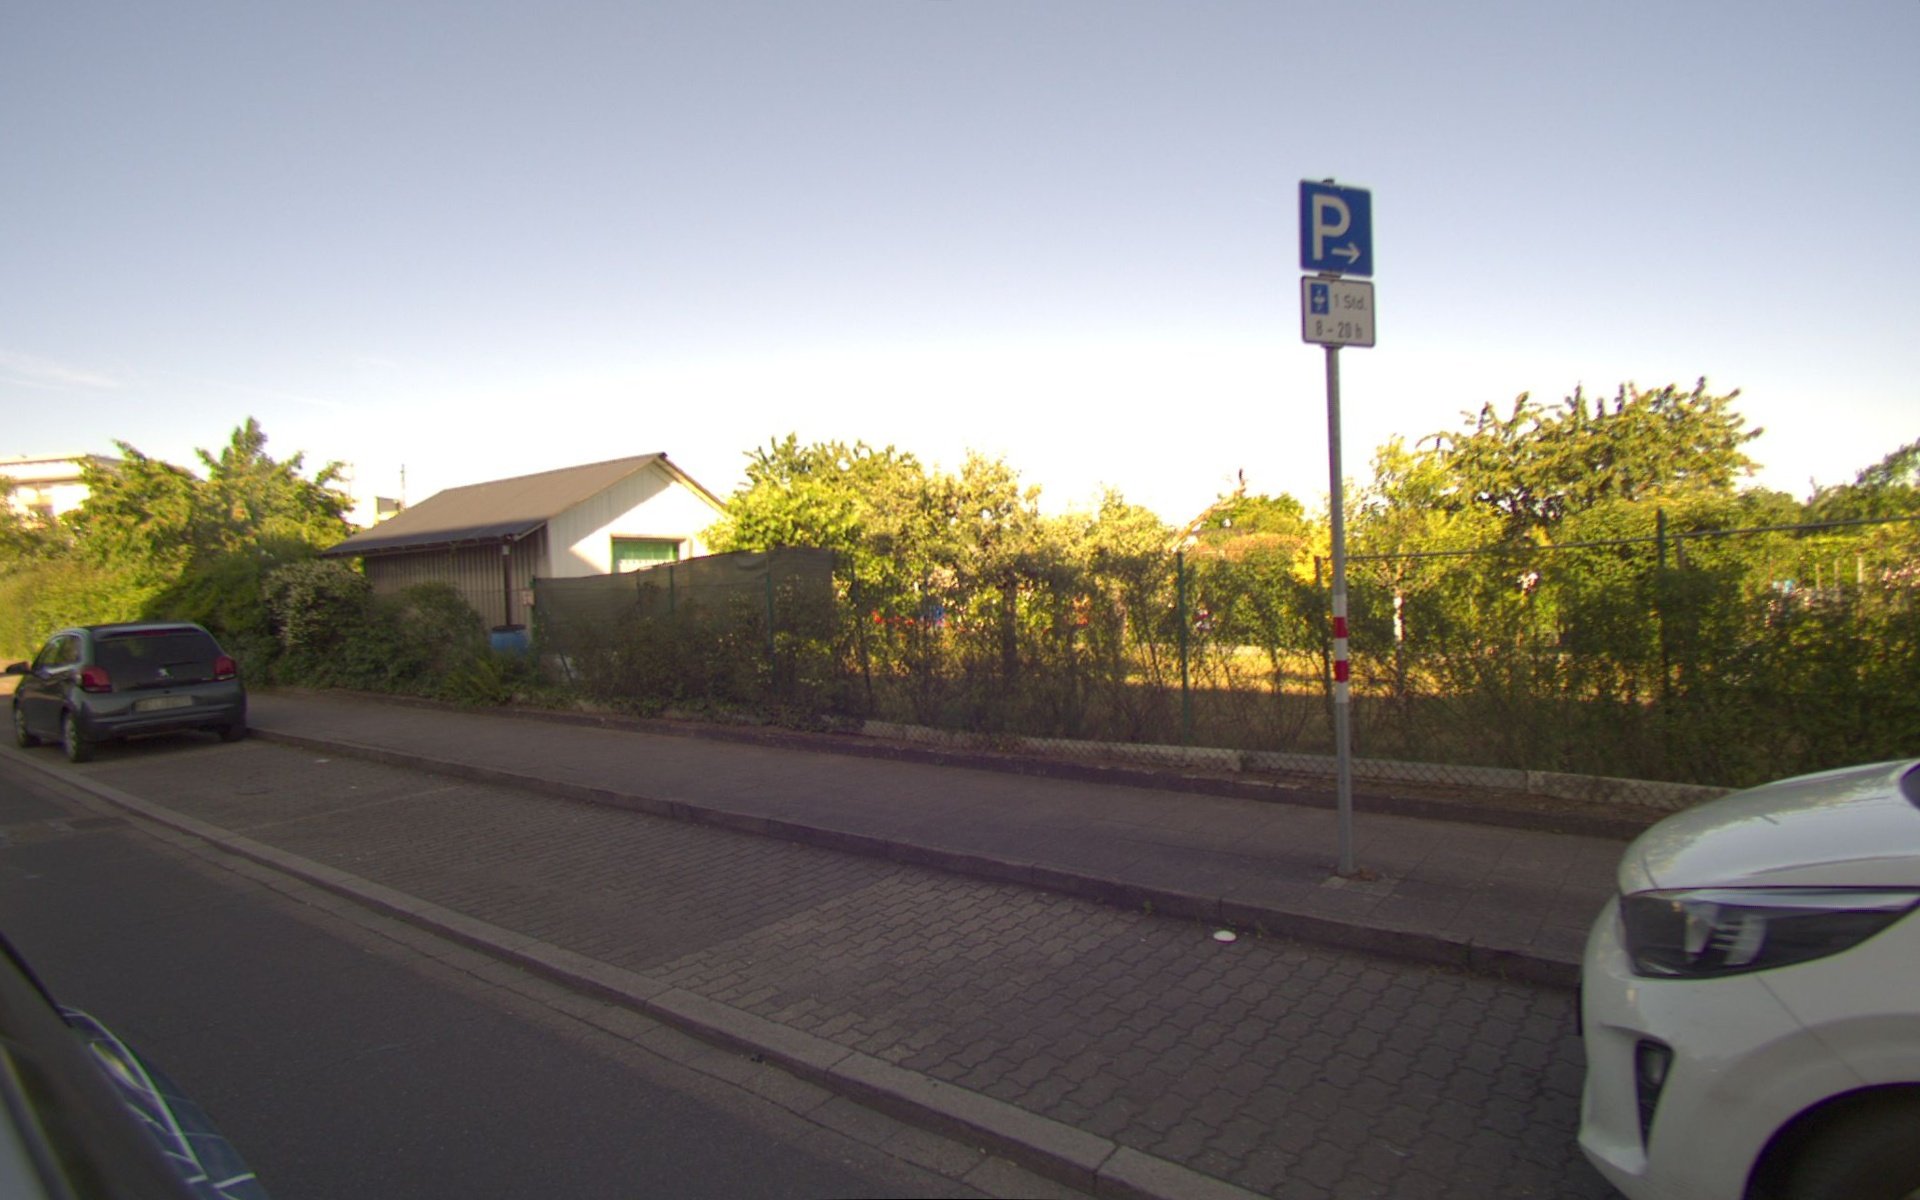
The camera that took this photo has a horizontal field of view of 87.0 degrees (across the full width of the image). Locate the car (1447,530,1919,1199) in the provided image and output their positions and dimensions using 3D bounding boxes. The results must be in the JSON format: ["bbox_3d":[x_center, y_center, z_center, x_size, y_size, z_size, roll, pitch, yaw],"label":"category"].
[{"bbox_3d":[2.978,0.605,1.568,3.753,1.506,1.545,-1,0,38],"label":"car"}]

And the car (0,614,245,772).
[{"bbox_3d":[-10.118,1.001,12.087,3.565,1.505,1.545,-1,3,38],"label":"car"}]
